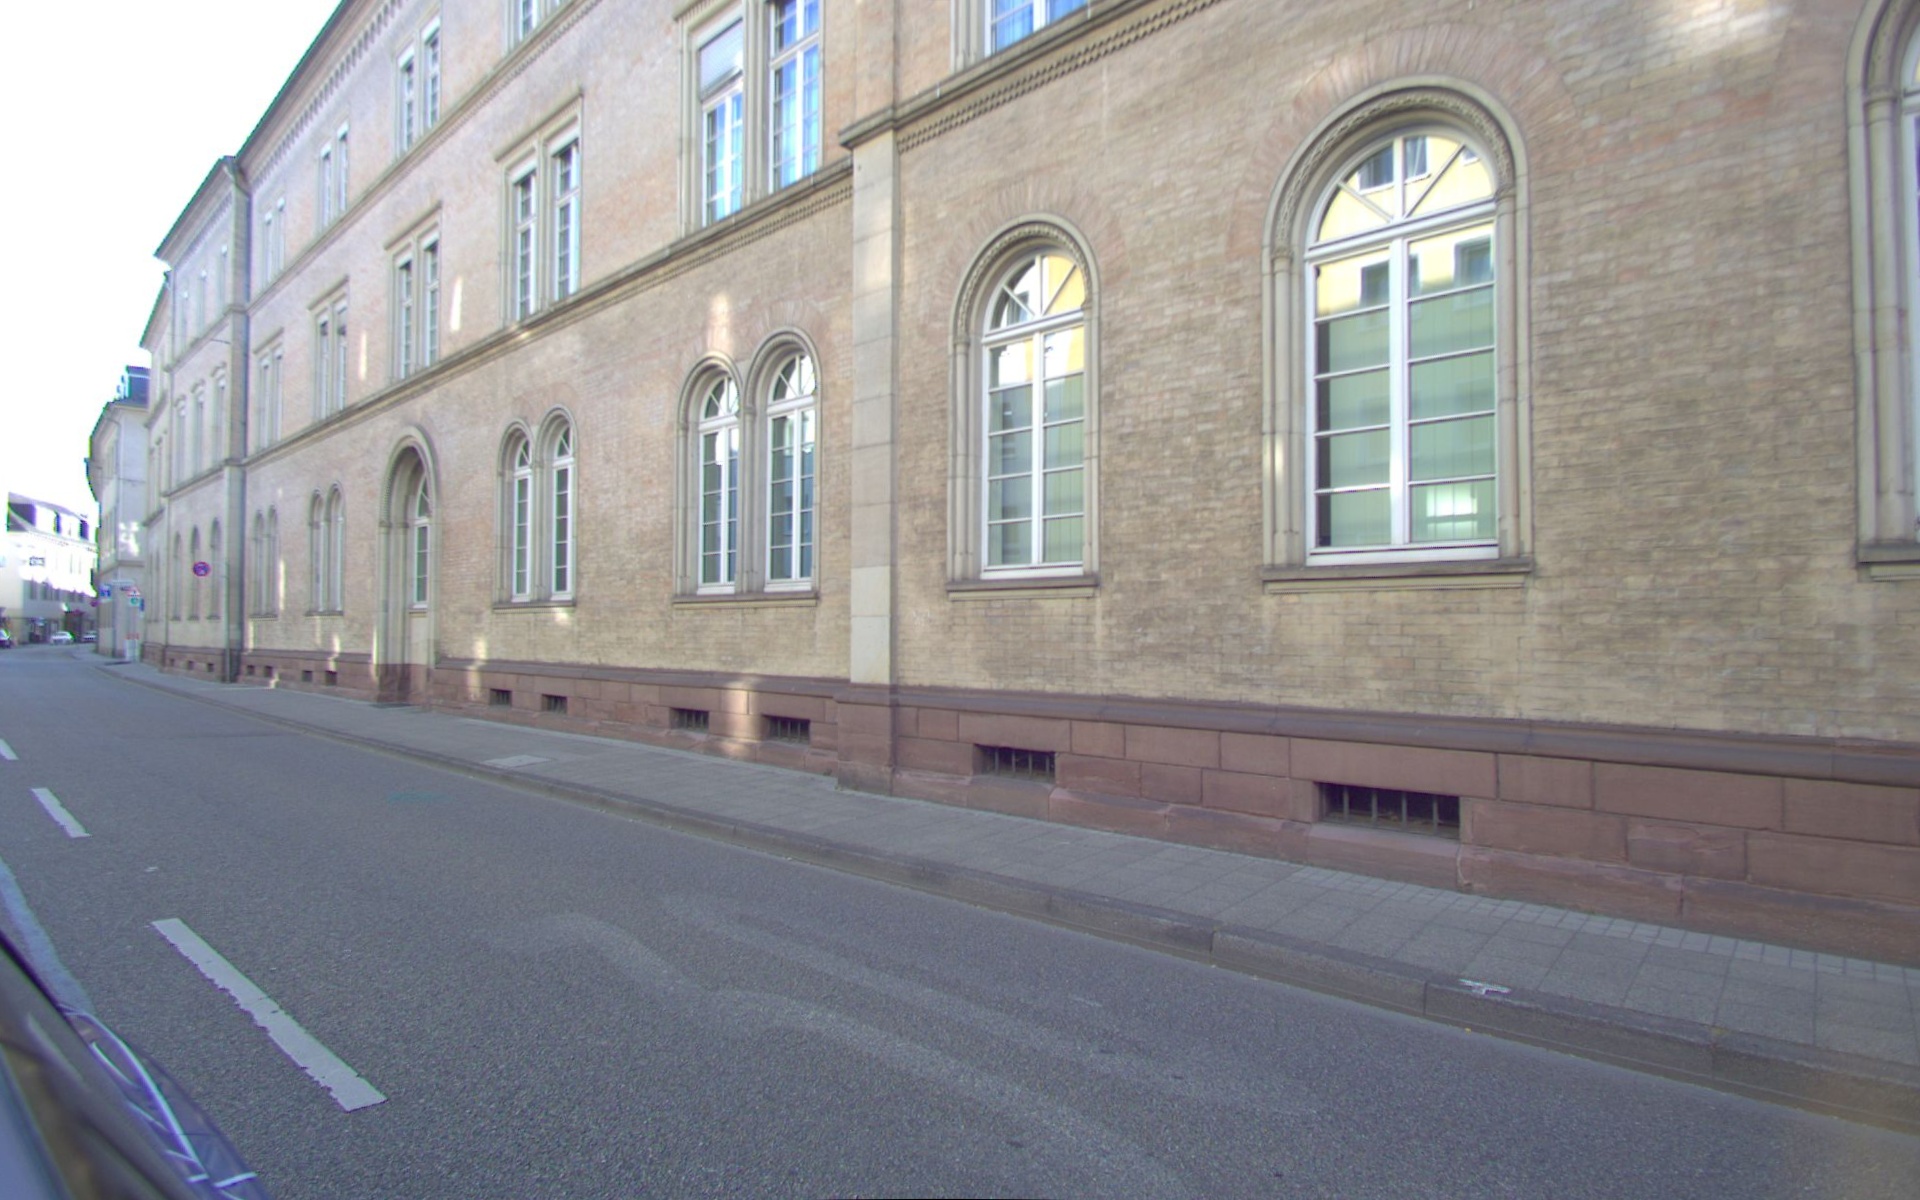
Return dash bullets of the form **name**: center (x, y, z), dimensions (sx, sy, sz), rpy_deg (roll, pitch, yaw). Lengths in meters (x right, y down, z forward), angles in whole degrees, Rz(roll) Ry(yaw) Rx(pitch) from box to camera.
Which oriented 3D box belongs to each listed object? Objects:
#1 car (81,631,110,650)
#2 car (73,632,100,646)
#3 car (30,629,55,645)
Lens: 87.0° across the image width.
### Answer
- **car**: center (-80.054, 3.712, 93.744), dimensions (1.638, 1.737, 3.748), rpy_deg (1, -2, -36)
- **car**: center (-109.186, 4.821, 126.542), dimensions (1.896, 1.737, 4.242), rpy_deg (1, -2, -31)
- **car**: center (-102.458, 4.152, 113.014), dimensions (1.511, 1.737, 3.749), rpy_deg (1, -2, -34)
